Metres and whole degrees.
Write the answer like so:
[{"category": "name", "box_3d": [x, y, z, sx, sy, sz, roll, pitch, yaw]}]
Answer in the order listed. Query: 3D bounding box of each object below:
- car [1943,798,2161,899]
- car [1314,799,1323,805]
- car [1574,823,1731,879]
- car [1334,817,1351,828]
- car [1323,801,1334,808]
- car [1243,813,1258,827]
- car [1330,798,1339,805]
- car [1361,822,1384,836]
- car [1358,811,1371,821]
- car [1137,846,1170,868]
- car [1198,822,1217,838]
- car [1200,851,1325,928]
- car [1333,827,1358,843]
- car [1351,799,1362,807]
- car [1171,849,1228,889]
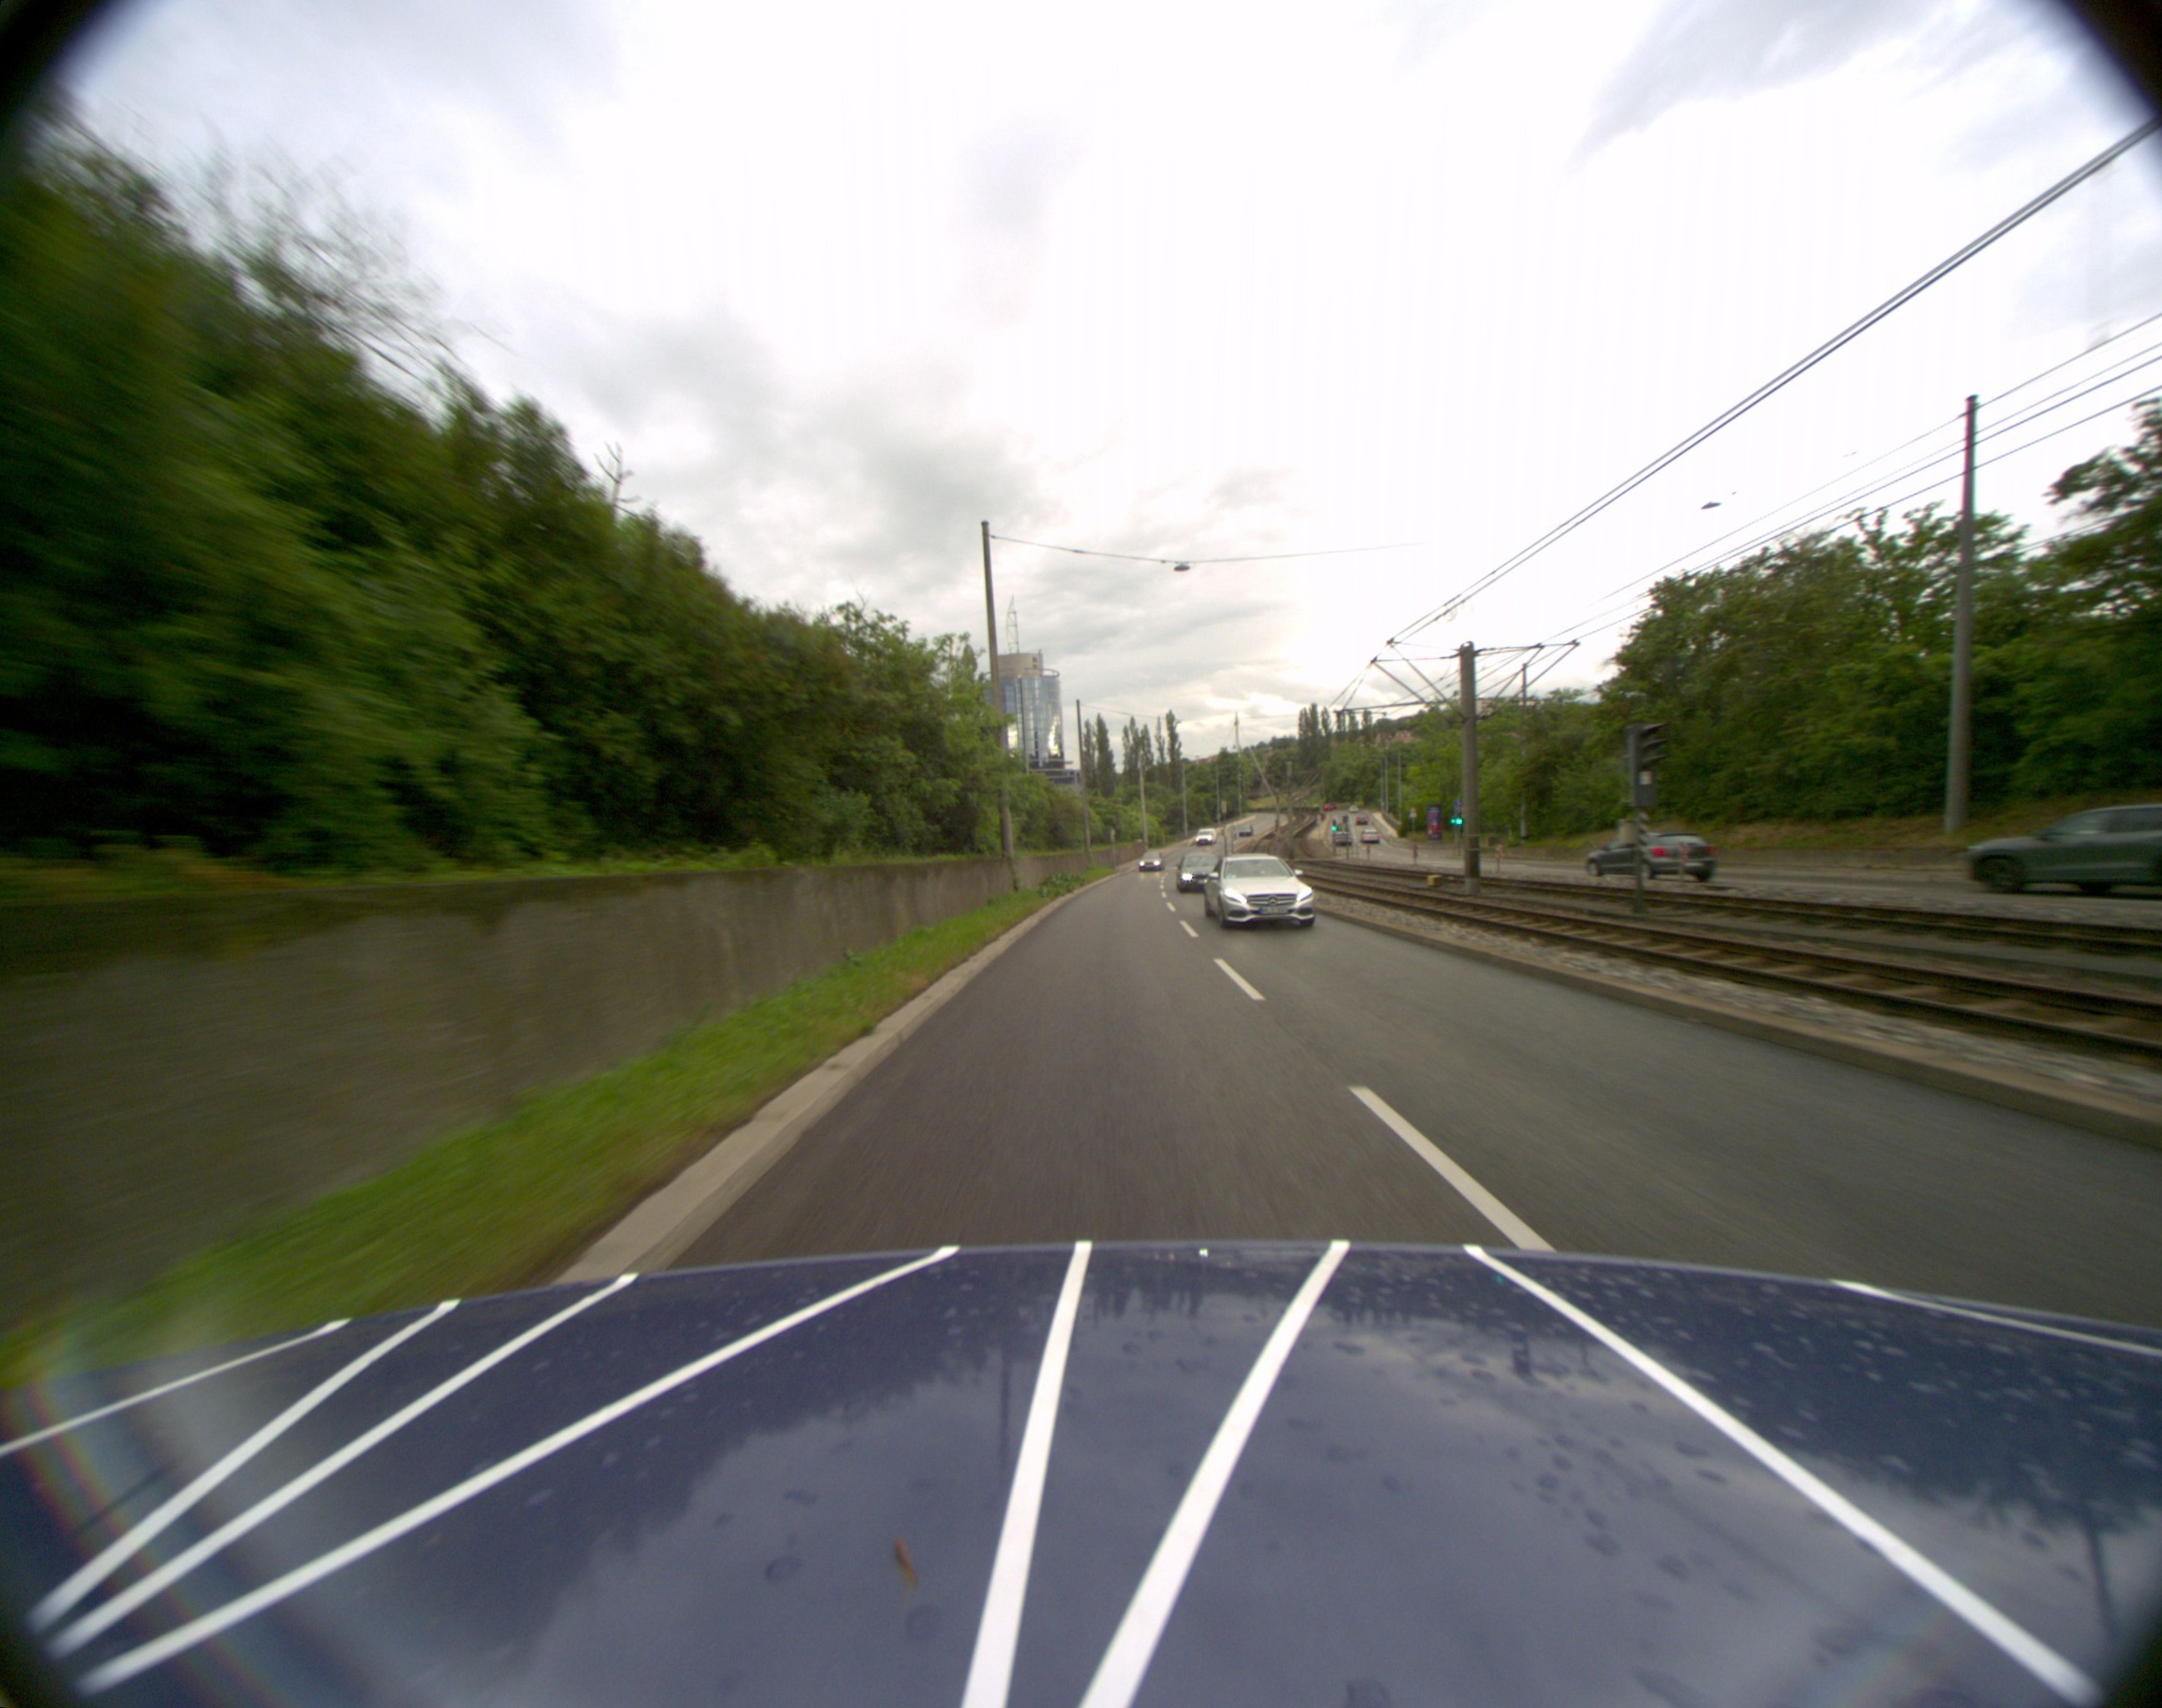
[{"category": "car", "box_3d": [18.727, -0.146, 13.422, 1.788, 1.660, 4.740, -2, 1, 4]}, {"category": "car", "box_3d": [63.578, -13.869, 203.362, 1.733, 1.430, 4.491, -2, 6, 11]}, {"category": "car", "box_3d": [16.522, -0.097, 22.244, 1.709, 1.406, 4.033, -3, 1, 4]}, {"category": "car", "box_3d": [34.790, -4.204, 101.215, 1.635, 1.377, 3.896, -1, 2, 10]}, {"category": "car", "box_3d": [61.535, -12.402, 188.916, 1.851, 1.589, 4.731, -2, 4, 9]}, {"category": "car", "box_3d": [23.948, -4.763, 107.160, 1.766, 1.806, 4.003, -3, 1, 15]}, {"category": "car", "box_3d": [66.767, -13.796, 200.036, 1.971, 1.589, 5.186, -1, 5, 16]}, {"category": "car", "box_3d": [32.628, -2.771, 85.146, 1.822, 1.372, 4.709, -1, 1, 14]}, {"category": "car", "box_3d": [45.053, -6.063, 120.882, 1.718, 1.451, 4.278, -2, 4, 19]}, {"category": "car", "box_3d": [5.660, 0.208, 58.983, 1.766, 1.492, 4.004, -2, 1, 16]}, {"category": "car", "box_3d": [15.801, -2.972, 94.769, 1.766, 1.806, 4.004, -3, 1, 17]}, {"category": "car", "box_3d": [3.700, 0.666, 16.180, 1.871, 1.348, 4.060, -2, 1, 4]}, {"category": "car", "box_3d": [28.407, -2.100, 81.680, 1.864, 1.431, 4.857, -3, 3, 12]}, {"category": "car", "box_3d": [61.465, -11.417, 169.663, 1.823, 1.507, 4.530, -2, 5, 15]}, {"category": "car", "box_3d": [4.500, 0.530, 29.383, 1.735, 1.344, 4.000, -3, 1, 3]}]
